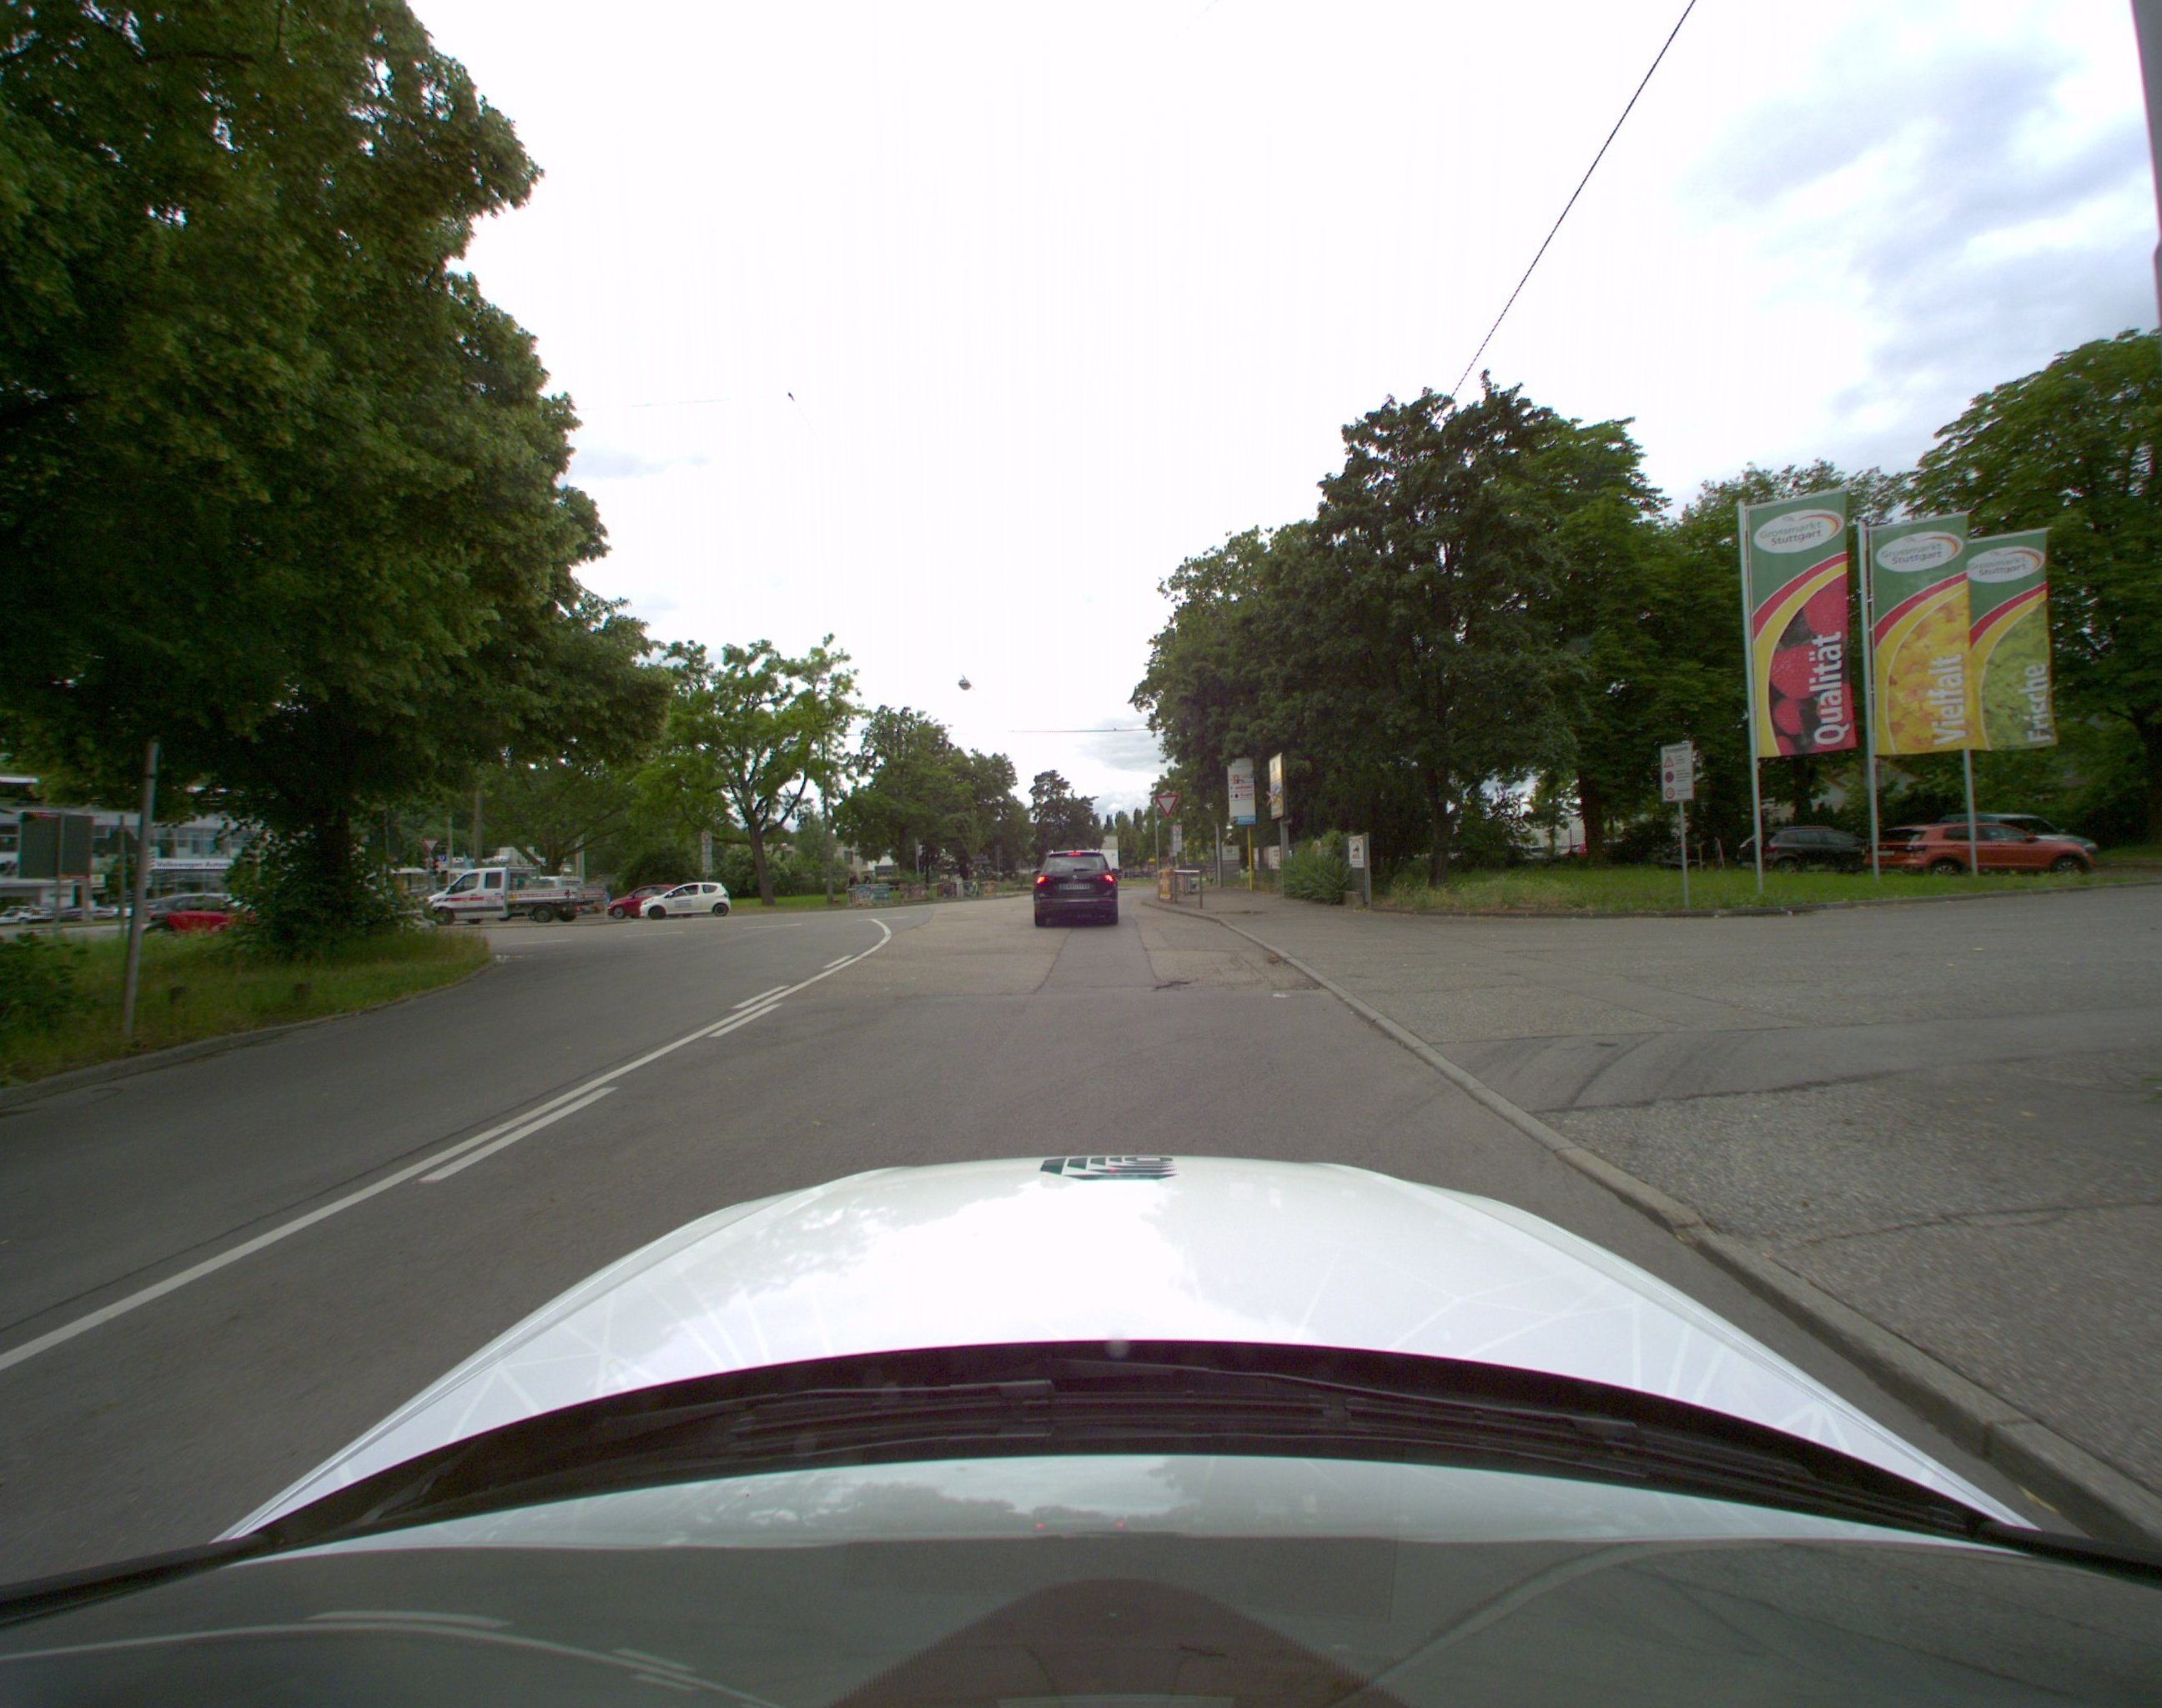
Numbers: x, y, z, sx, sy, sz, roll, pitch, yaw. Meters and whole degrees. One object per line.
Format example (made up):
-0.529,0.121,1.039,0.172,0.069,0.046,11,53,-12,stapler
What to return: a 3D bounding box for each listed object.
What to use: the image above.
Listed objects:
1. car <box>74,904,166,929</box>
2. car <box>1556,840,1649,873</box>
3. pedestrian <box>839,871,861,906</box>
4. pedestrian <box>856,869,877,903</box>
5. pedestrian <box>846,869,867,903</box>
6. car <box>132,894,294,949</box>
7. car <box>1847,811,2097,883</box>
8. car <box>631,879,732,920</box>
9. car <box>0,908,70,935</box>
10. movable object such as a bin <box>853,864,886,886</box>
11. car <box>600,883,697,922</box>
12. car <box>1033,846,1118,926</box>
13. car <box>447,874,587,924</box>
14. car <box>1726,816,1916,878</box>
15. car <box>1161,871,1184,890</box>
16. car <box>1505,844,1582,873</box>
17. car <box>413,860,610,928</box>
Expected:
-80.271,5.223,68.132,4.507,1.692,1.985,-2,-1,-23,car
29.326,0.153,45.895,3.924,1.647,1.834,-3,-1,7,car
-11.805,1.766,41.614,0.734,1.742,0.732,-3,-1,43,pedestrian
-11.179,1.668,42.490,0.734,1.742,0.732,-3,-1,43,pedestrian
-11.844,1.696,42.998,0.734,1.742,0.732,-3,-1,43,pedestrian
-25.417,1.939,23.979,2.887,1.349,1.549,-2,-1,-28,car
22.039,-0.142,20.311,3.924,1.534,1.834,-3,-1,7,car
-16.368,1.842,33.491,3.623,1.409,1.726,-2,-1,-26,car
-77.429,4.978,59.195,4.507,1.692,1.985,-2,-1,-23,car
-20.734,2.071,79.898,1.975,2.014,2.413,-3,-1,24,movable object such as a bin
-19.247,2.141,36.329,3.390,1.478,1.637,-2,-1,-7,car
-0.128,0.676,18.537,1.734,1.618,3.639,-1,-1,-1,car
-25.158,1.998,36.403,4.951,1.942,2.052,-3,-1,7,car
22.580,-0.190,24.998,3.924,1.647,1.834,-3,-1,7,car
8.766,2.529,77.932,1.647,1.574,3.841,-3,-1,13,car
29.996,0.294,52.908,3.924,1.647,1.834,-3,-1,7,car
-22.870,1.570,32.961,6.059,2.387,2.391,-3,-1,-4,car
